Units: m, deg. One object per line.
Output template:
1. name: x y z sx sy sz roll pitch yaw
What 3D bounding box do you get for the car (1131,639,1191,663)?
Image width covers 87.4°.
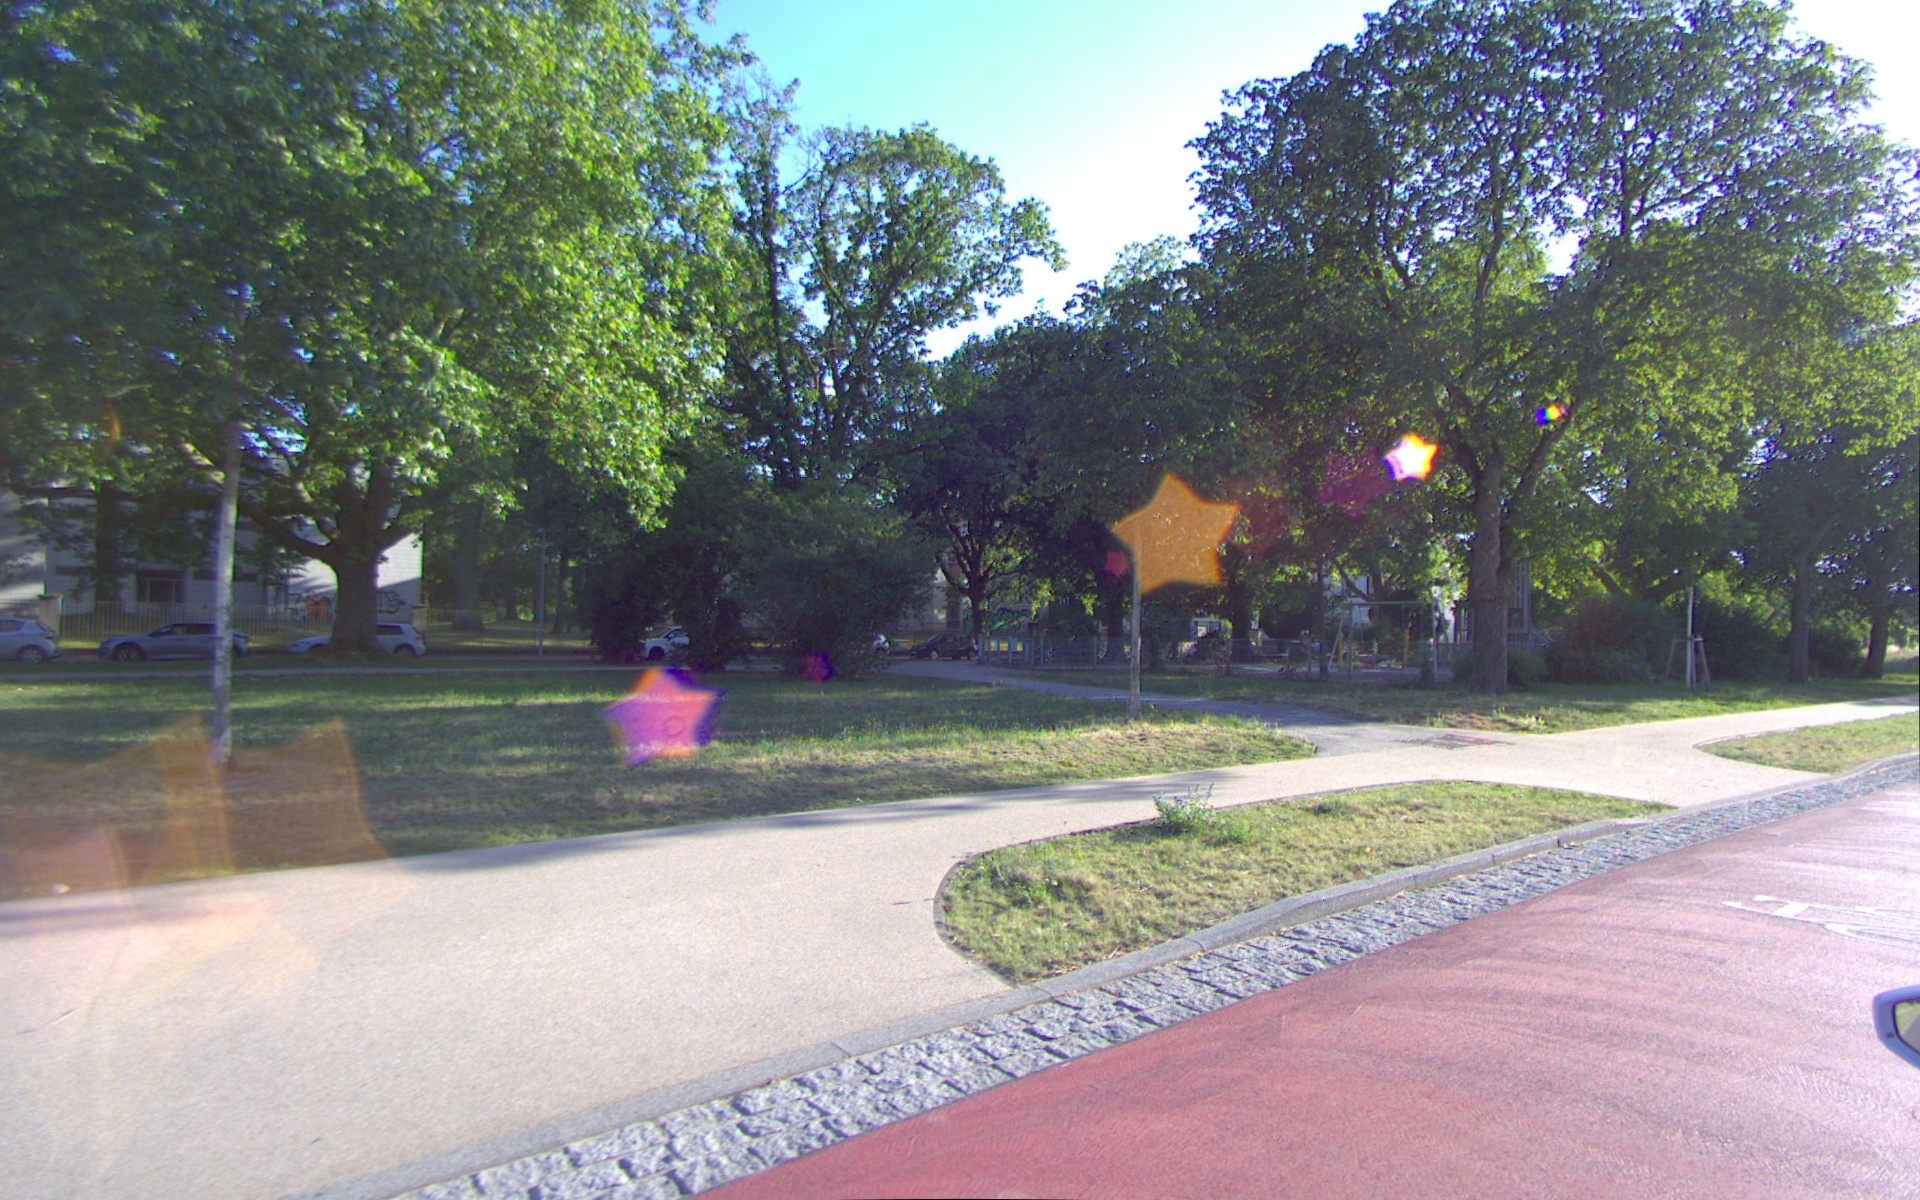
1. car: 12.416 3.142 62.023 3.716 1.386 1.512 2 -2 -36

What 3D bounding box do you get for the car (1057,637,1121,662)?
1. car: 7.536 2.868 58.667 3.716 1.386 1.512 2 -2 -36

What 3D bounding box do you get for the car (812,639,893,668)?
1. car: -5.272 2.601 49.307 3.716 1.309 1.512 2 -2 -36

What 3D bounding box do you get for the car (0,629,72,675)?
1. car: -29.636 1.576 30.687 3.616 1.386 1.511 2 -2 -37

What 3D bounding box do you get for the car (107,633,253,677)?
1. car: -25.892 1.800 33.480 3.758 1.386 1.511 2 -2 -37

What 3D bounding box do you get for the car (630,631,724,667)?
1. car: -12.273 2.101 43.641 3.626 1.483 1.590 2 -1 -35

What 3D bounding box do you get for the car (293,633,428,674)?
1. car: -21.711 1.908 36.449 4.071 1.386 1.511 2 -2 -37

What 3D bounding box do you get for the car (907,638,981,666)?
1. car: -0.808 2.695 52.611 3.716 1.386 1.512 2 -2 -36
